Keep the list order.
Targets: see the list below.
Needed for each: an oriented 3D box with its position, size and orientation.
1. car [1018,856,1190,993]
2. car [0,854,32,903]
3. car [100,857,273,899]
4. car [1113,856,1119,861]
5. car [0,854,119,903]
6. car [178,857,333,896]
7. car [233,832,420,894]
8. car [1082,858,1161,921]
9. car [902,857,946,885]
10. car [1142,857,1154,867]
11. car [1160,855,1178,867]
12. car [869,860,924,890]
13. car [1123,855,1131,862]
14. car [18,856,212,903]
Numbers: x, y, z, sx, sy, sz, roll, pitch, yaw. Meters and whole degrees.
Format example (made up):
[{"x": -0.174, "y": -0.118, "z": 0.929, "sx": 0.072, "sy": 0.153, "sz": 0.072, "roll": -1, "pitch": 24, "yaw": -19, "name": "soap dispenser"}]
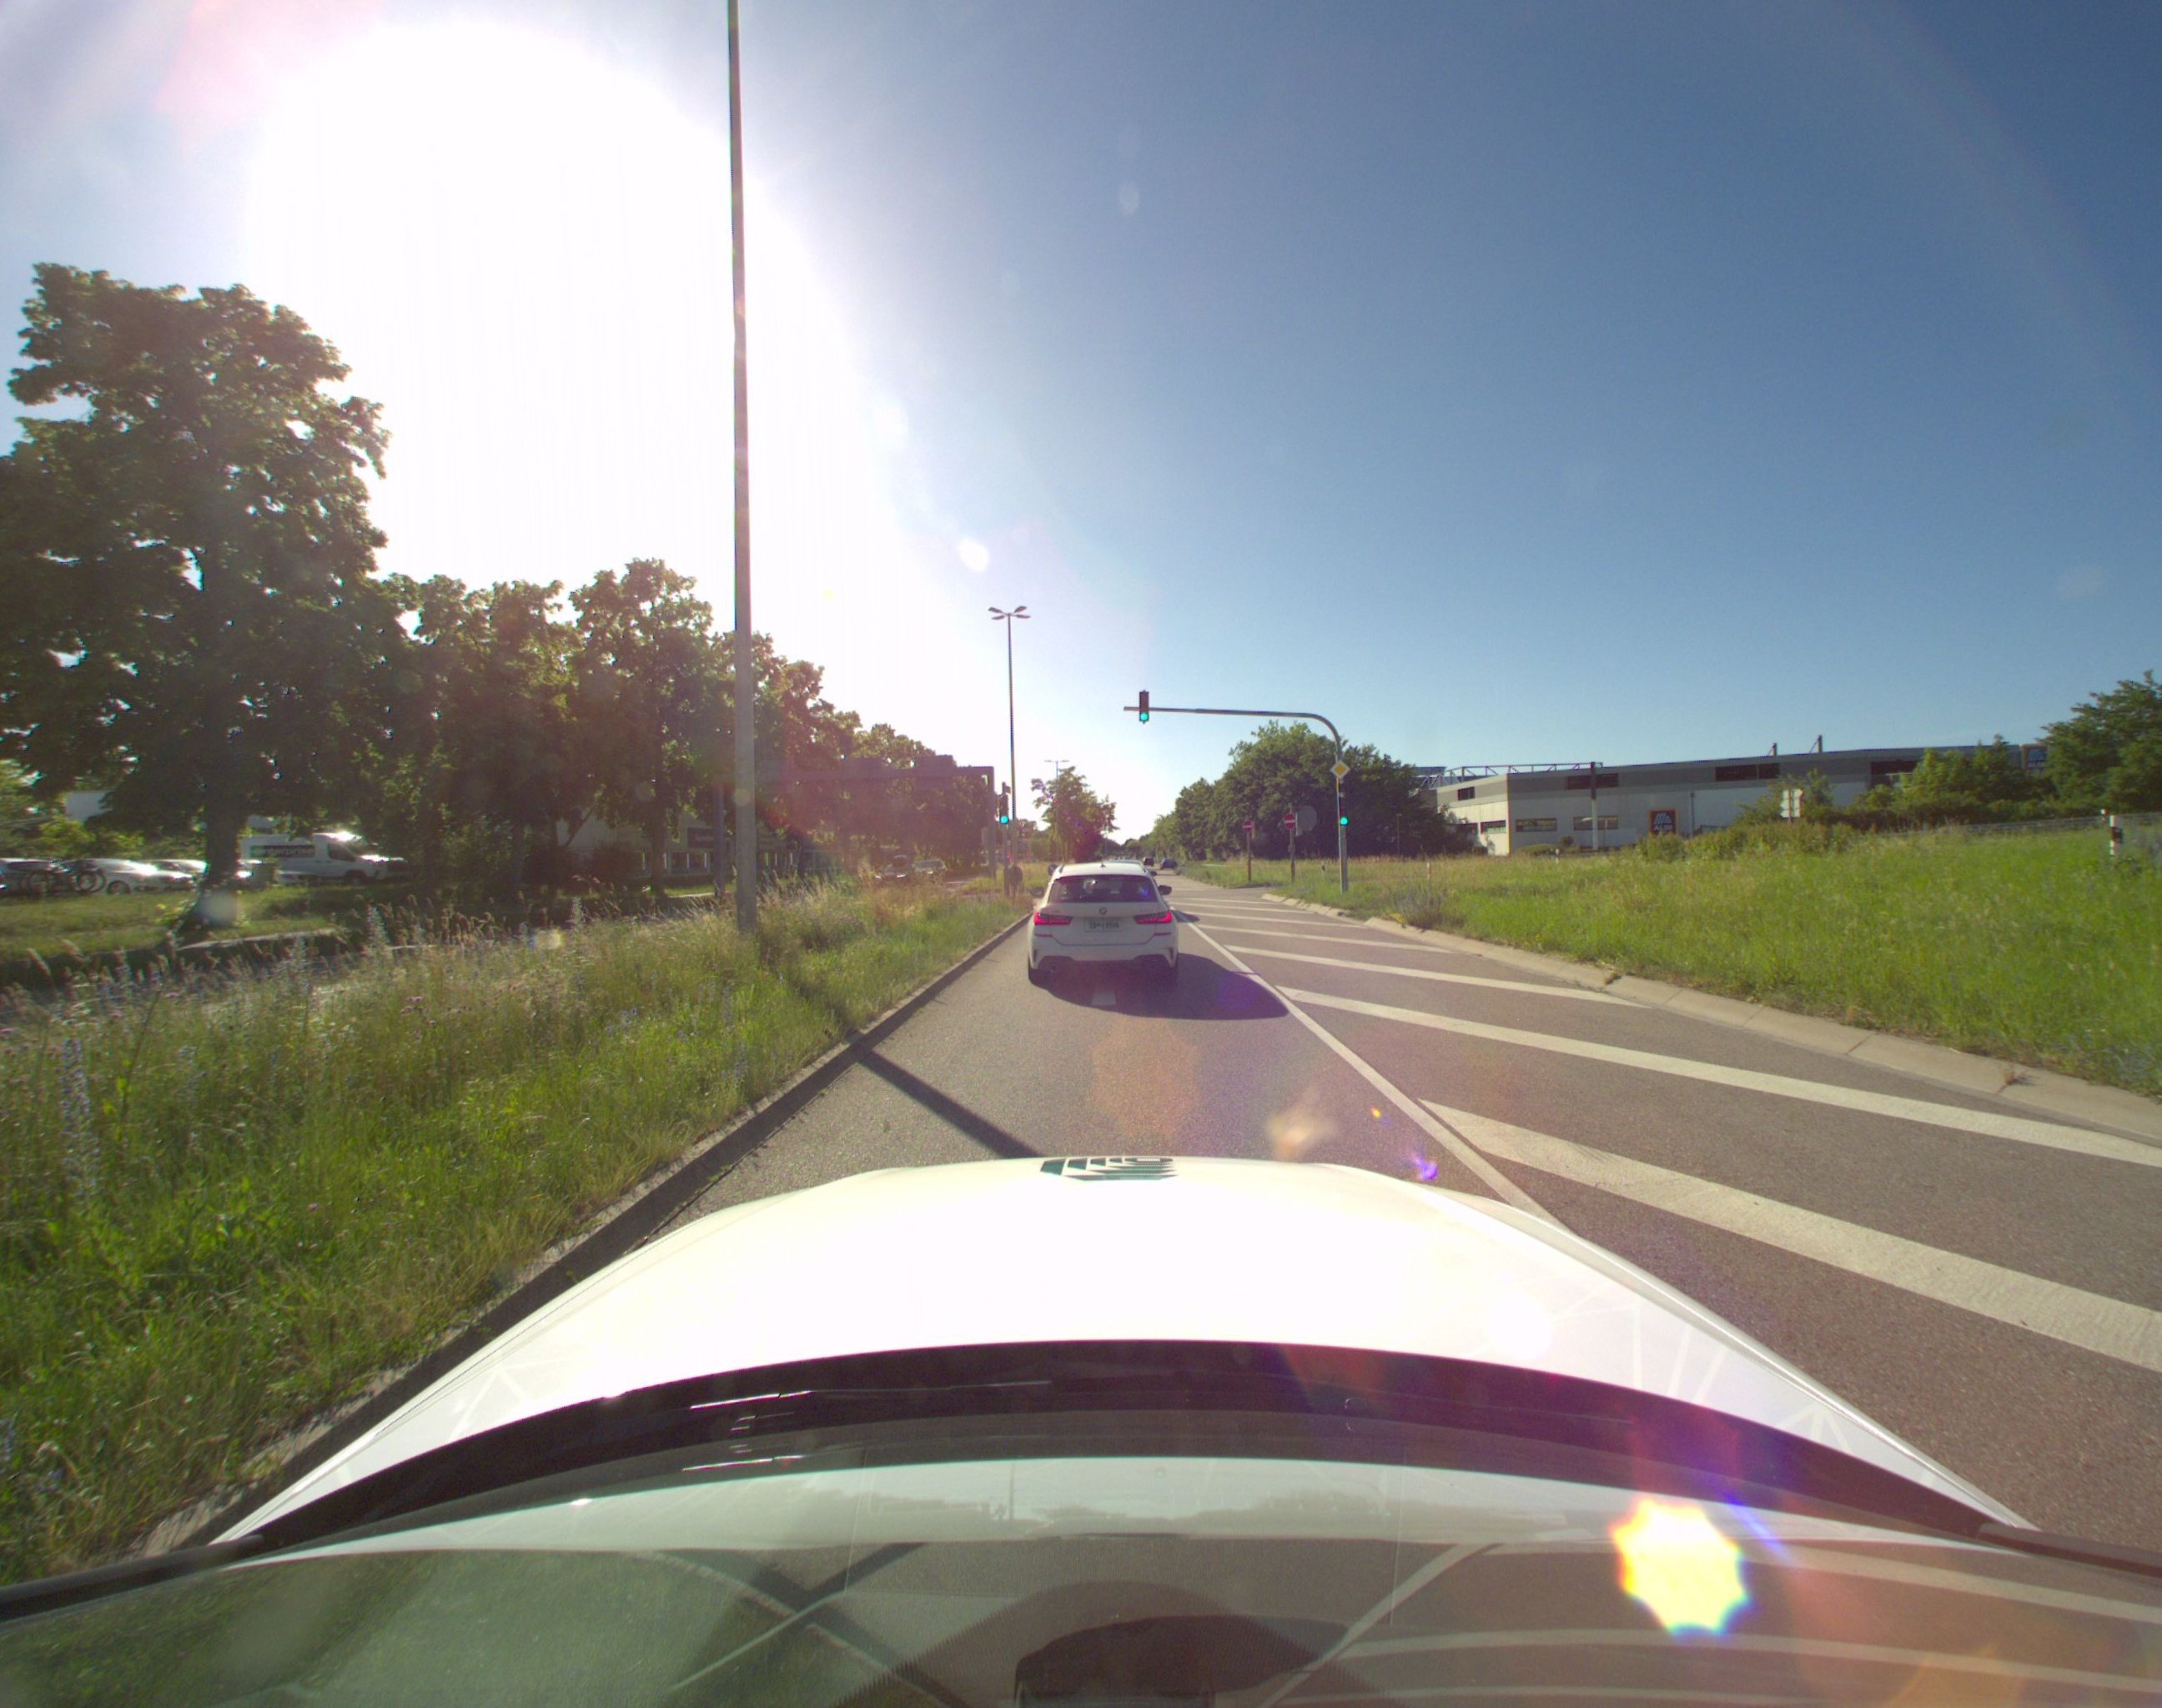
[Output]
[{"x": 0.353, "y": 0.784, "z": 11.238, "sx": 1.854, "sy": 1.455, "sz": 4.550, "roll": -1, "pitch": 0, "yaw": 2, "name": "car"}, {"x": -32.327, "y": 0.753, "z": 22.469, "sx": 4.107, "sy": 1.388, "sz": 1.945, "roll": -2, "pitch": 0, "yaw": -2, "name": "car"}, {"x": -32.959, "y": 0.861, "z": 30.117, "sx": 4.107, "sy": 1.388, "sz": 1.945, "roll": -2, "pitch": 0, "yaw": -2, "name": "car"}, {"x": 10.735, "y": 1.474, "z": 251.851, "sx": 1.854, "sy": 1.565, "sz": 4.549, "roll": -2, "pitch": 0, "yaw": 2, "name": "car"}, {"x": -32.680, "y": 0.778, "z": 24.768, "sx": 4.601, "sy": 1.388, "sz": 1.948, "roll": -2, "pitch": 0, "yaw": 2, "name": "car"}, {"x": -33.092, "y": 0.895, "z": 32.733, "sx": 4.107, "sy": 1.388, "sz": 1.945, "roll": -2, "pitch": 0, "yaw": -2, "name": "car"}, {"x": -32.574, "y": 0.384, "z": 35.323, "sx": 5.861, "sy": 2.433, "sz": 2.205, "roll": -2, "pitch": 0, "yaw": -2, "name": "car"}, {"x": 1.062, "y": 0.862, "z": 21.802, "sx": 1.854, "sy": 1.455, "sz": 4.549, "roll": -2, "pitch": 0, "yaw": 2, "name": "car"}, {"x": -10.755, "y": 1.133, "z": 56.154, "sx": 1.935, "sy": 1.697, "sz": 4.632, "roll": -3, "pitch": 0, "yaw": 2, "name": "car"}, {"x": 10.808, "y": 1.294, "z": 131.511, "sx": 1.765, "sy": 1.555, "sz": 3.833, "roll": -2, "pitch": 0, "yaw": 1, "name": "car"}, {"x": 10.758, "y": 0.851, "z": 99.431, "sx": 1.854, "sy": 1.499, "sz": 4.338, "roll": -1, "pitch": 0, "yaw": 2, "name": "car"}, {"x": -10.641, "y": 1.178, "z": 47.348, "sx": 1.869, "sy": 1.543, "sz": 4.575, "roll": -3, "pitch": 0, "yaw": 2, "name": "car"}, {"x": 11.686, "y": 1.185, "z": 205.282, "sx": 1.854, "sy": 1.565, "sz": 4.549, "roll": -2, "pitch": 0, "yaw": 2, "name": "car"}, {"x": -32.557, "y": 0.826, "z": 27.552, "sx": 4.107, "sy": 1.388, "sz": 1.945, "roll": -2, "pitch": 0, "yaw": -2, "name": "car"}]
